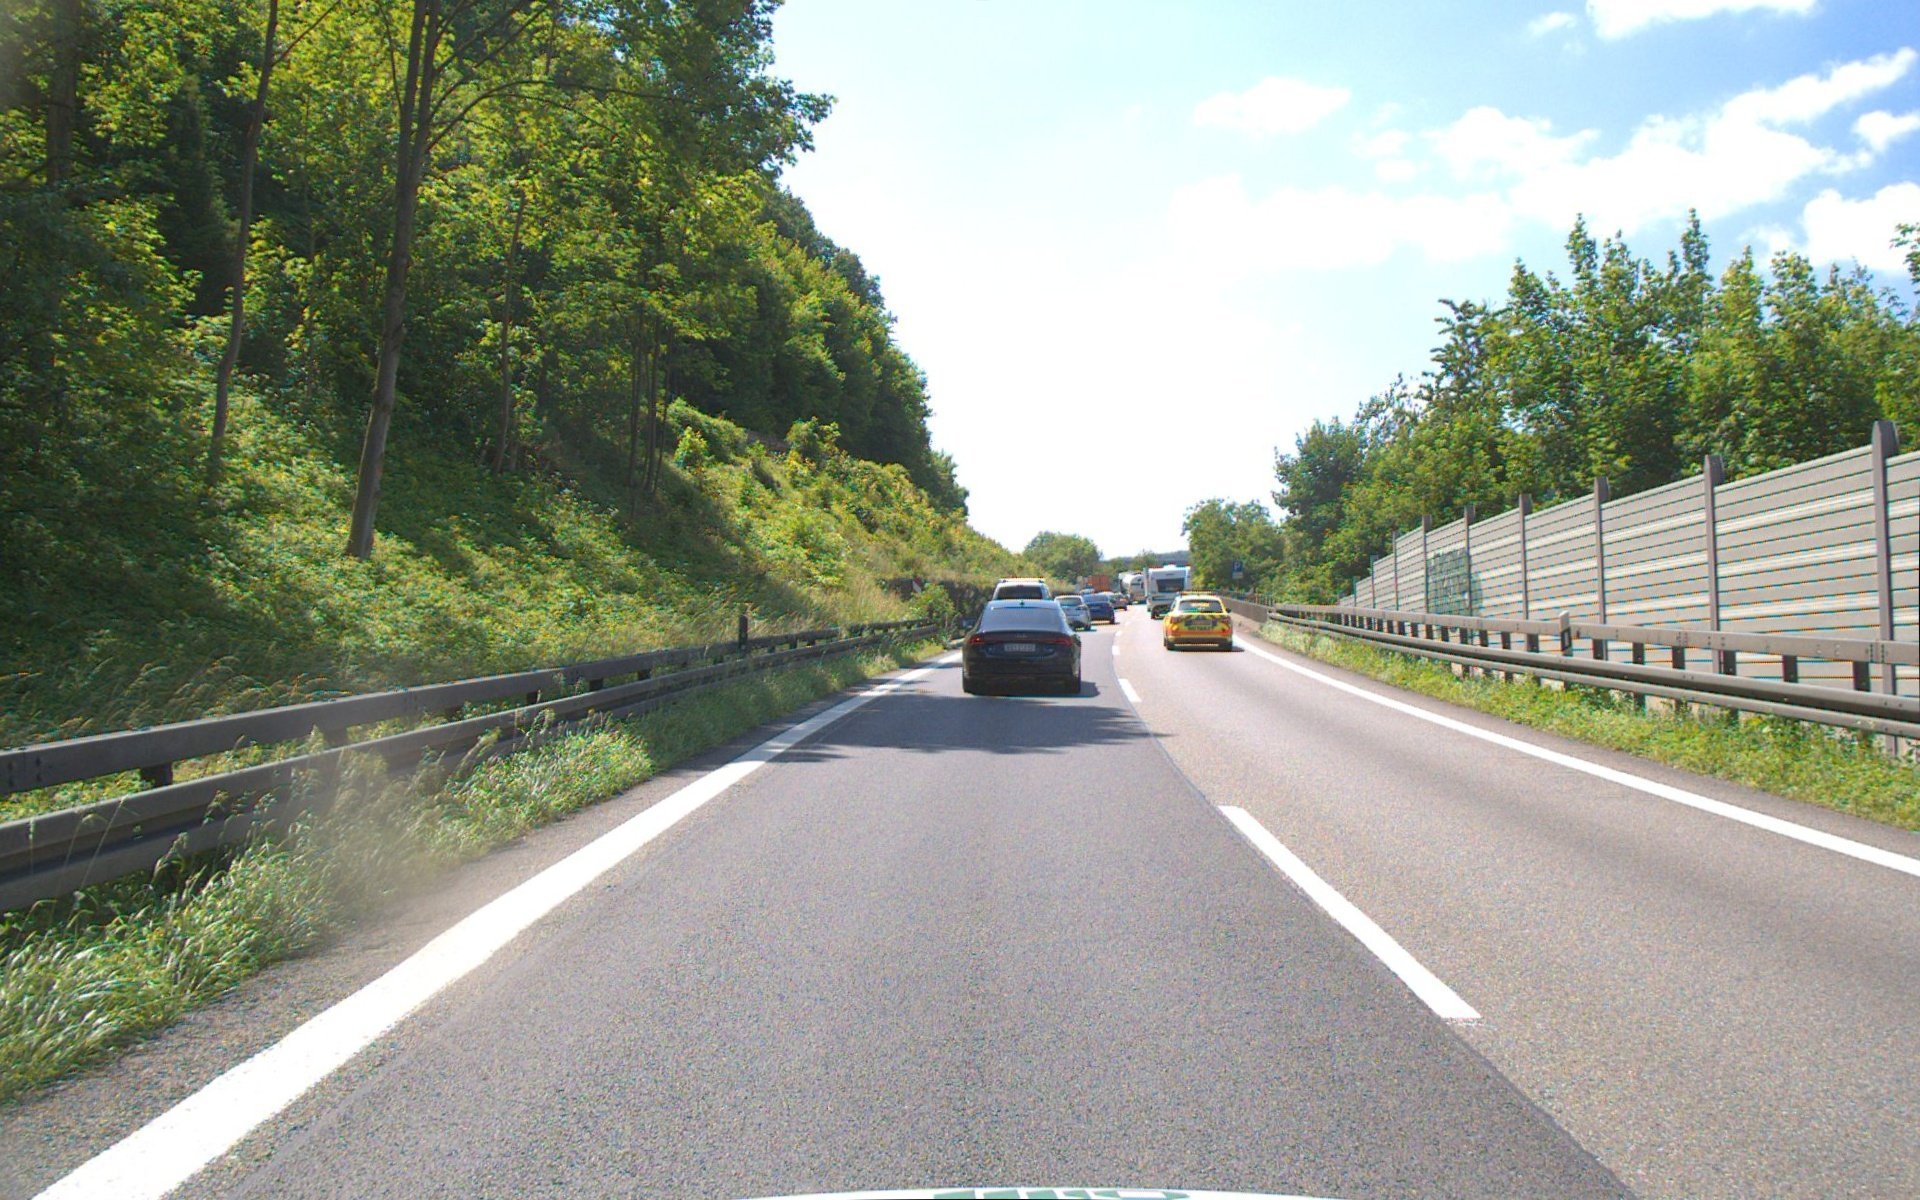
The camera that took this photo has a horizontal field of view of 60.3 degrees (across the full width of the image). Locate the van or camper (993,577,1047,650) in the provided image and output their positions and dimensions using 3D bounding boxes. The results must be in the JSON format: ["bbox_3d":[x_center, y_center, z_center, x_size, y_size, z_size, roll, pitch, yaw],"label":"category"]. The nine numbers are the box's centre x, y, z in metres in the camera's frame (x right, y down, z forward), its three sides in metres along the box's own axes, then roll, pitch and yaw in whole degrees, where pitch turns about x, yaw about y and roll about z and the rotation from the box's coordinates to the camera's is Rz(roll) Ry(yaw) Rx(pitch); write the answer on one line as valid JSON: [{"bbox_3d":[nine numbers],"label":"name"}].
[{"bbox_3d":[1.611,0.370,43.880,1.362,1.848,4.001,0,-1,2],"label":"van or camper"}]

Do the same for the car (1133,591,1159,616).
[{"bbox_3d":[13.315,0.213,118.519,1.802,1.747,4.003,0,0,6],"label":"car"}]

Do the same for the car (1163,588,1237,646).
[{"bbox_3d":[6.554,0.472,45.413,1.823,1.514,4.002,0,-1,6],"label":"car"}]

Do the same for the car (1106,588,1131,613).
[{"bbox_3d":[13.278,0.055,138.223,1.951,2.100,4.003,0,-1,7],"label":"car"}]

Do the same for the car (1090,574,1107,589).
[{"bbox_3d":[19.609,-2.650,234.135,1.953,2.049,3.998,0,0,-2],"label":"car"}]

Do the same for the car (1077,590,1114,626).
[{"bbox_3d":[6.561,0.376,80.262,1.736,1.665,4.002,0,0,4],"label":"car"}]

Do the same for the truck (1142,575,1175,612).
[{"bbox_3d":[17.520,-0.586,146.438,2.780,3.186,7.485,0,0,6],"label":"truck"}]

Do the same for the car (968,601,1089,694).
[{"bbox_3d":[1.036,0.736,26.676,1.800,1.373,4.000,0,-1,0],"label":"car"}]

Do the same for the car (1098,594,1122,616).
[{"bbox_3d":[11.568,0.386,127.177,1.645,1.662,3.522,0,0,8],"label":"car"}]

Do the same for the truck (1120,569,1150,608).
[{"bbox_3d":[19.122,-1.193,180.911,2.676,4.168,7.482,0,0,2],"label":"truck"}]

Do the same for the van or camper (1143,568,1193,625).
[{"bbox_3d":[11.203,-0.161,89.348,2.404,2.969,6.129,0,-1,5],"label":"van or camper"}]

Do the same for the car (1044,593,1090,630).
[{"bbox_3d":[4.429,0.490,68.072,1.710,1.456,4.002,0,-1,6],"label":"car"}]

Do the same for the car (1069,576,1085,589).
[{"bbox_3d":[18.380,-2.707,259.948,1.953,2.049,3.998,0,0,-2],"label":"car"}]
